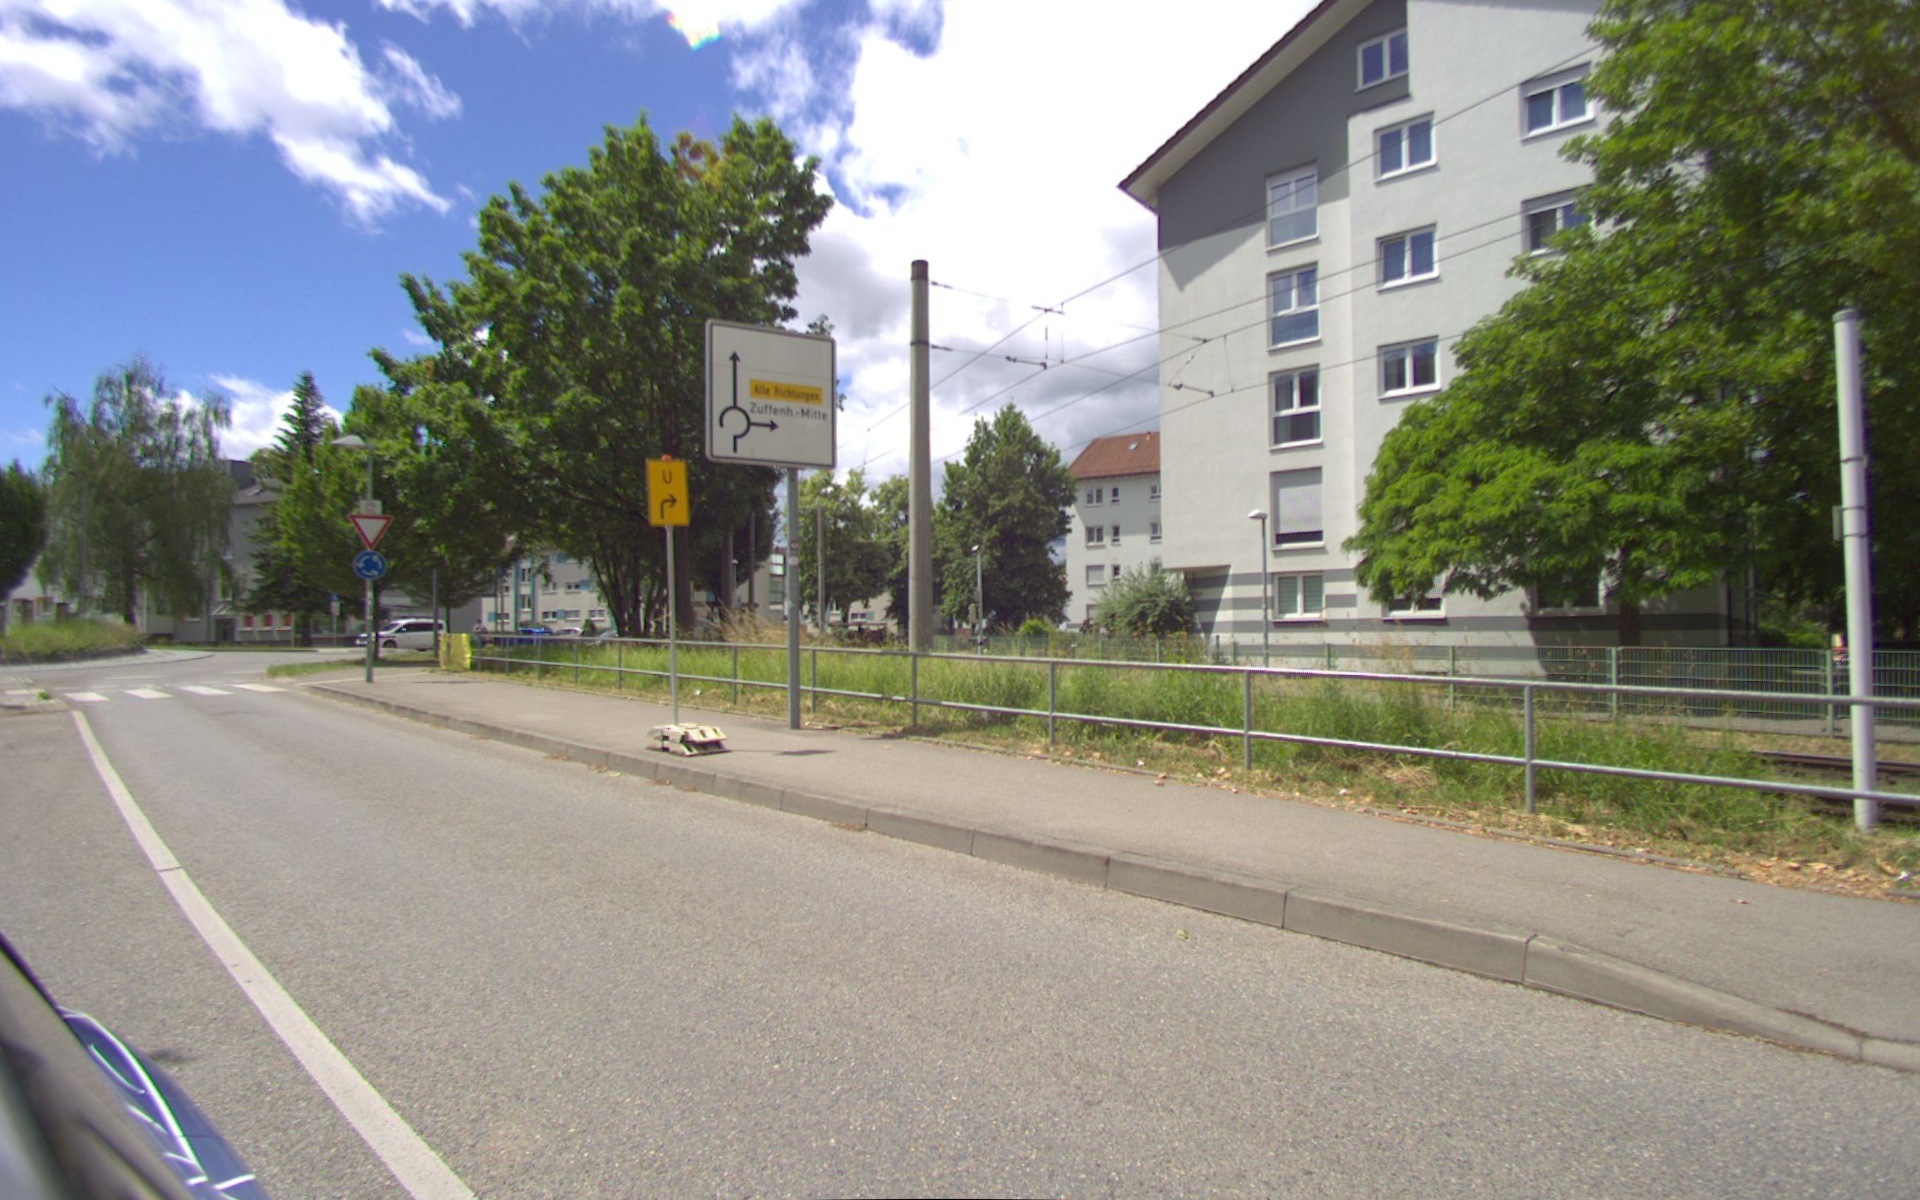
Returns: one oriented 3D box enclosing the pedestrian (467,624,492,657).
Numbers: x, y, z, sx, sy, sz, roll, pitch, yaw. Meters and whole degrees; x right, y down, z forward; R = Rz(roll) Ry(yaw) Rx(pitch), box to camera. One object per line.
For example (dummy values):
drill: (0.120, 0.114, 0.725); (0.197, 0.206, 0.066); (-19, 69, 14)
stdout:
pedestrian: (-24.809, 2.096, 52.277); (0.863, 1.677, 1.023); (2, -3, -45)

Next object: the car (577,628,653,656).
car: (-22.711, 2.752, 66.755); (1.993, 1.810, 4.568); (-1, -2, 32)

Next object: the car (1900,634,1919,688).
car: (29.702, 1.770, 28.785); (4.102, 1.567, 1.839); (0, -2, 35)

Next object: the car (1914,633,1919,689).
car: (28.297, 1.681, 26.821); (4.102, 1.567, 1.839); (0, -2, 35)

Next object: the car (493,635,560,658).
car: (-29.623, 3.168, 69.177); (4.093, 1.535, 1.796); (-1, -2, 21)

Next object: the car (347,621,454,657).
car: (-29.584, 2.042, 53.661); (1.992, 1.810, 4.572); (-1, -2, 29)
